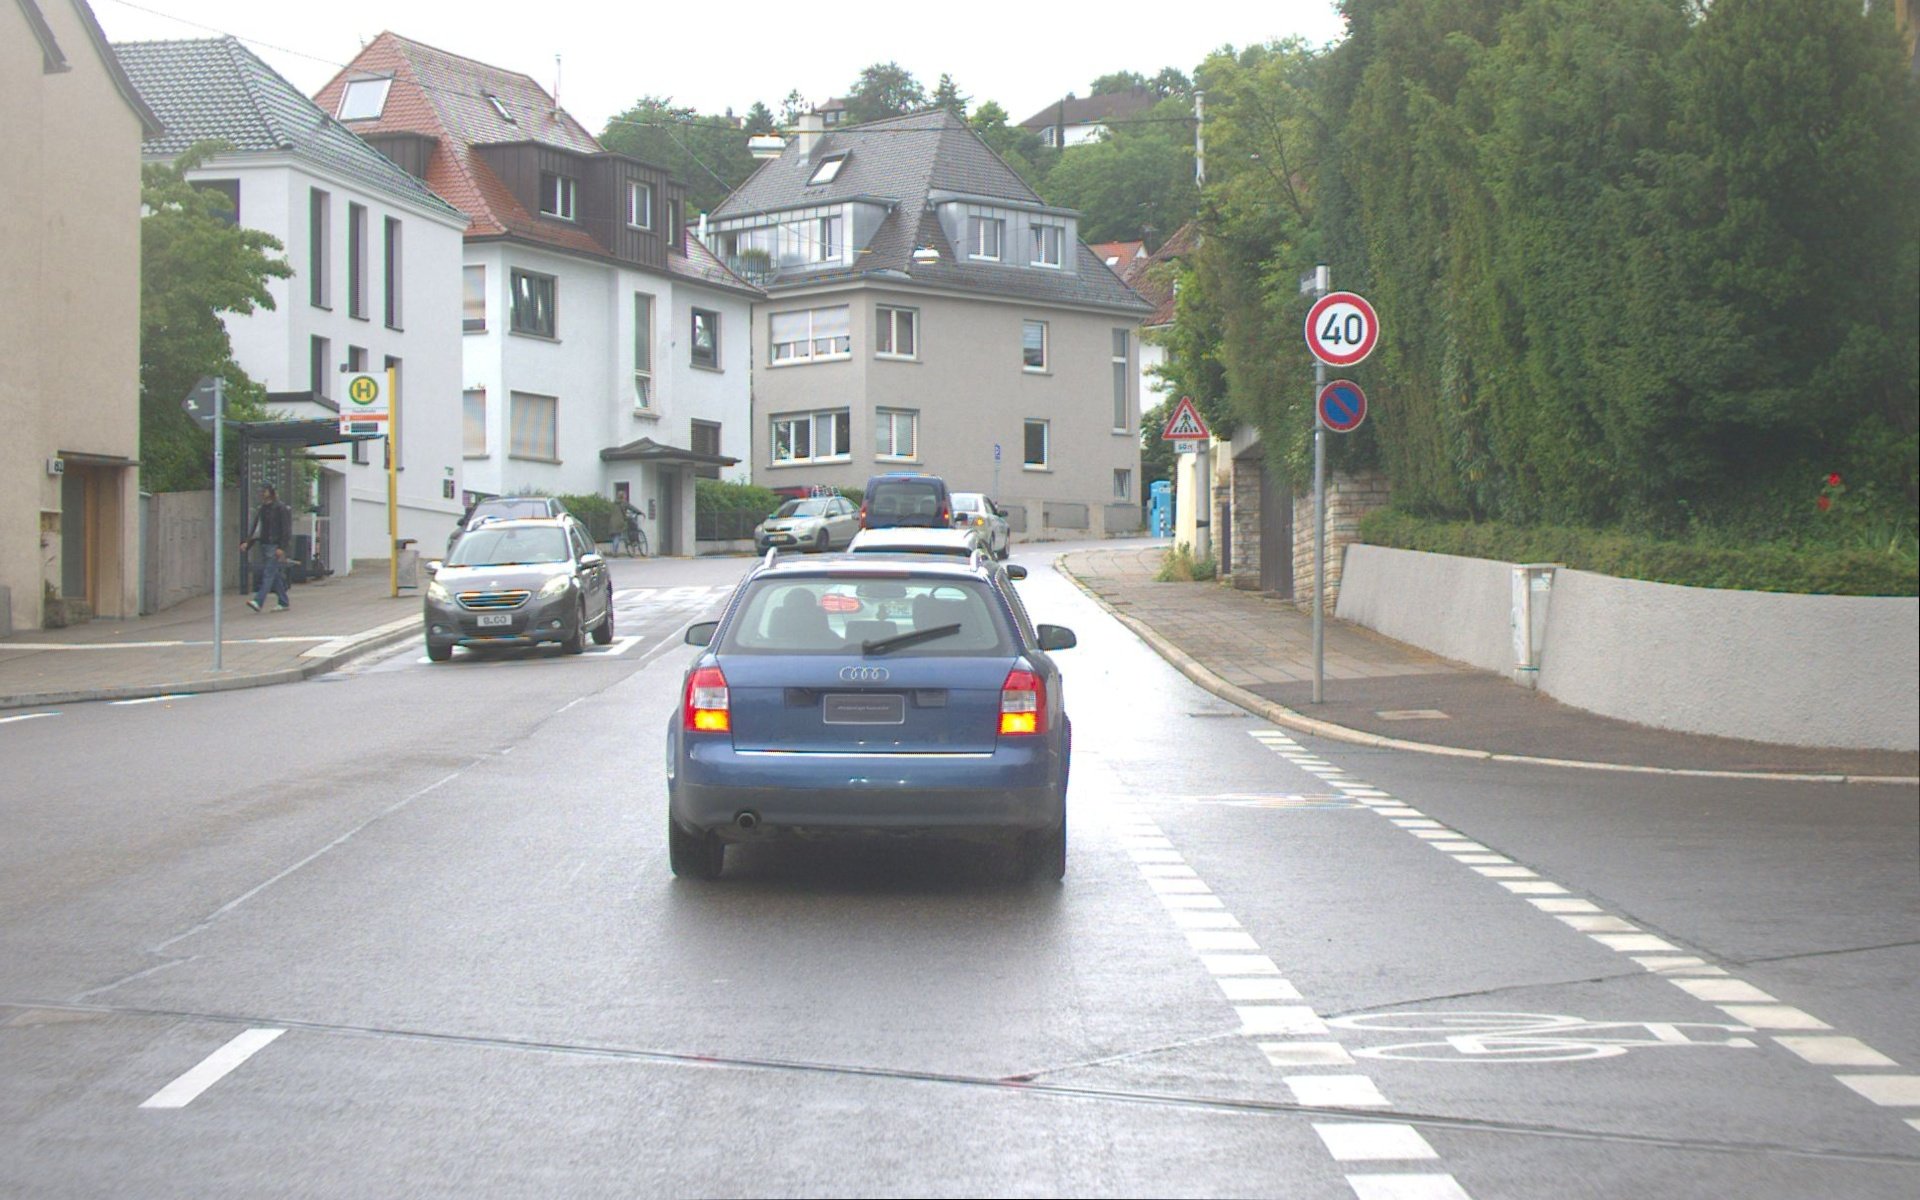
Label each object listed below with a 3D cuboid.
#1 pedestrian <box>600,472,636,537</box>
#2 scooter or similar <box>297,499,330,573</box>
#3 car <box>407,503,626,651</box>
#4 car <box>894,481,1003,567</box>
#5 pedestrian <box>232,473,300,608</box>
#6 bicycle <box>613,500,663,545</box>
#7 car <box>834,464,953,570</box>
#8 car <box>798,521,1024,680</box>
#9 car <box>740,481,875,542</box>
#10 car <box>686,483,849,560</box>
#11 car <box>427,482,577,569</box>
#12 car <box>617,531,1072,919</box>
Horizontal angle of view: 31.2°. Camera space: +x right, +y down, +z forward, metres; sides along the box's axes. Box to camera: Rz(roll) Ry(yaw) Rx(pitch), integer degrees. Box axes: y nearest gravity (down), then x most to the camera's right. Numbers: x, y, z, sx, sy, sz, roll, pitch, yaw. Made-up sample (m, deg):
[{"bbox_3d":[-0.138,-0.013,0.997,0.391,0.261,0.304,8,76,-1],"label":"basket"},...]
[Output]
[{"bbox_3d":[-8.254,-2.309,82.955,0.493,1.571,0.947,0,2,18],"label":"pedestrian"},{"bbox_3d":[-10.871,-1.080,57.823,0.337,1.215,1.123,0,2,0],"label":"scooter or similar"},{"bbox_3d":[-4.953,-0.287,38.849,1.734,1.540,4.000,-1,1,3],"label":"car"},{"bbox_3d":[-0.213,-1.600,71.771,1.928,1.700,4.000,-1,2,4],"label":"car"},{"bbox_3d":[-9.671,-0.836,47.912,0.786,1.850,0.728,1,2,0],"label":"pedestrian"},{"bbox_3d":[-7.761,-1.872,82.897,0.456,1.063,1.920,0,2,18],"label":"bicycle"},{"bbox_3d":[-1.113,-1.433,58.821,1.928,1.700,4.000,-1,2,0],"label":"car"},{"bbox_3d":[-0.520,-0.028,32.075,1.811,1.356,4.001,1,1,-5],"label":"car"},{"bbox_3d":[-3.872,-2.277,87.841,1.838,1.420,4.225,-2,2,22],"label":"car"},{"bbox_3d":[-5.443,-2.214,97.064,3.993,1.816,1.997,-5,0,28],"label":"car"},{"bbox_3d":[-8.236,-1.365,62.210,1.829,1.480,4.991,-1,2,2],"label":"car"},{"bbox_3d":[-0.466,0.467,15.967,1.811,1.434,4.082,1,3,0],"label":"car"}]
